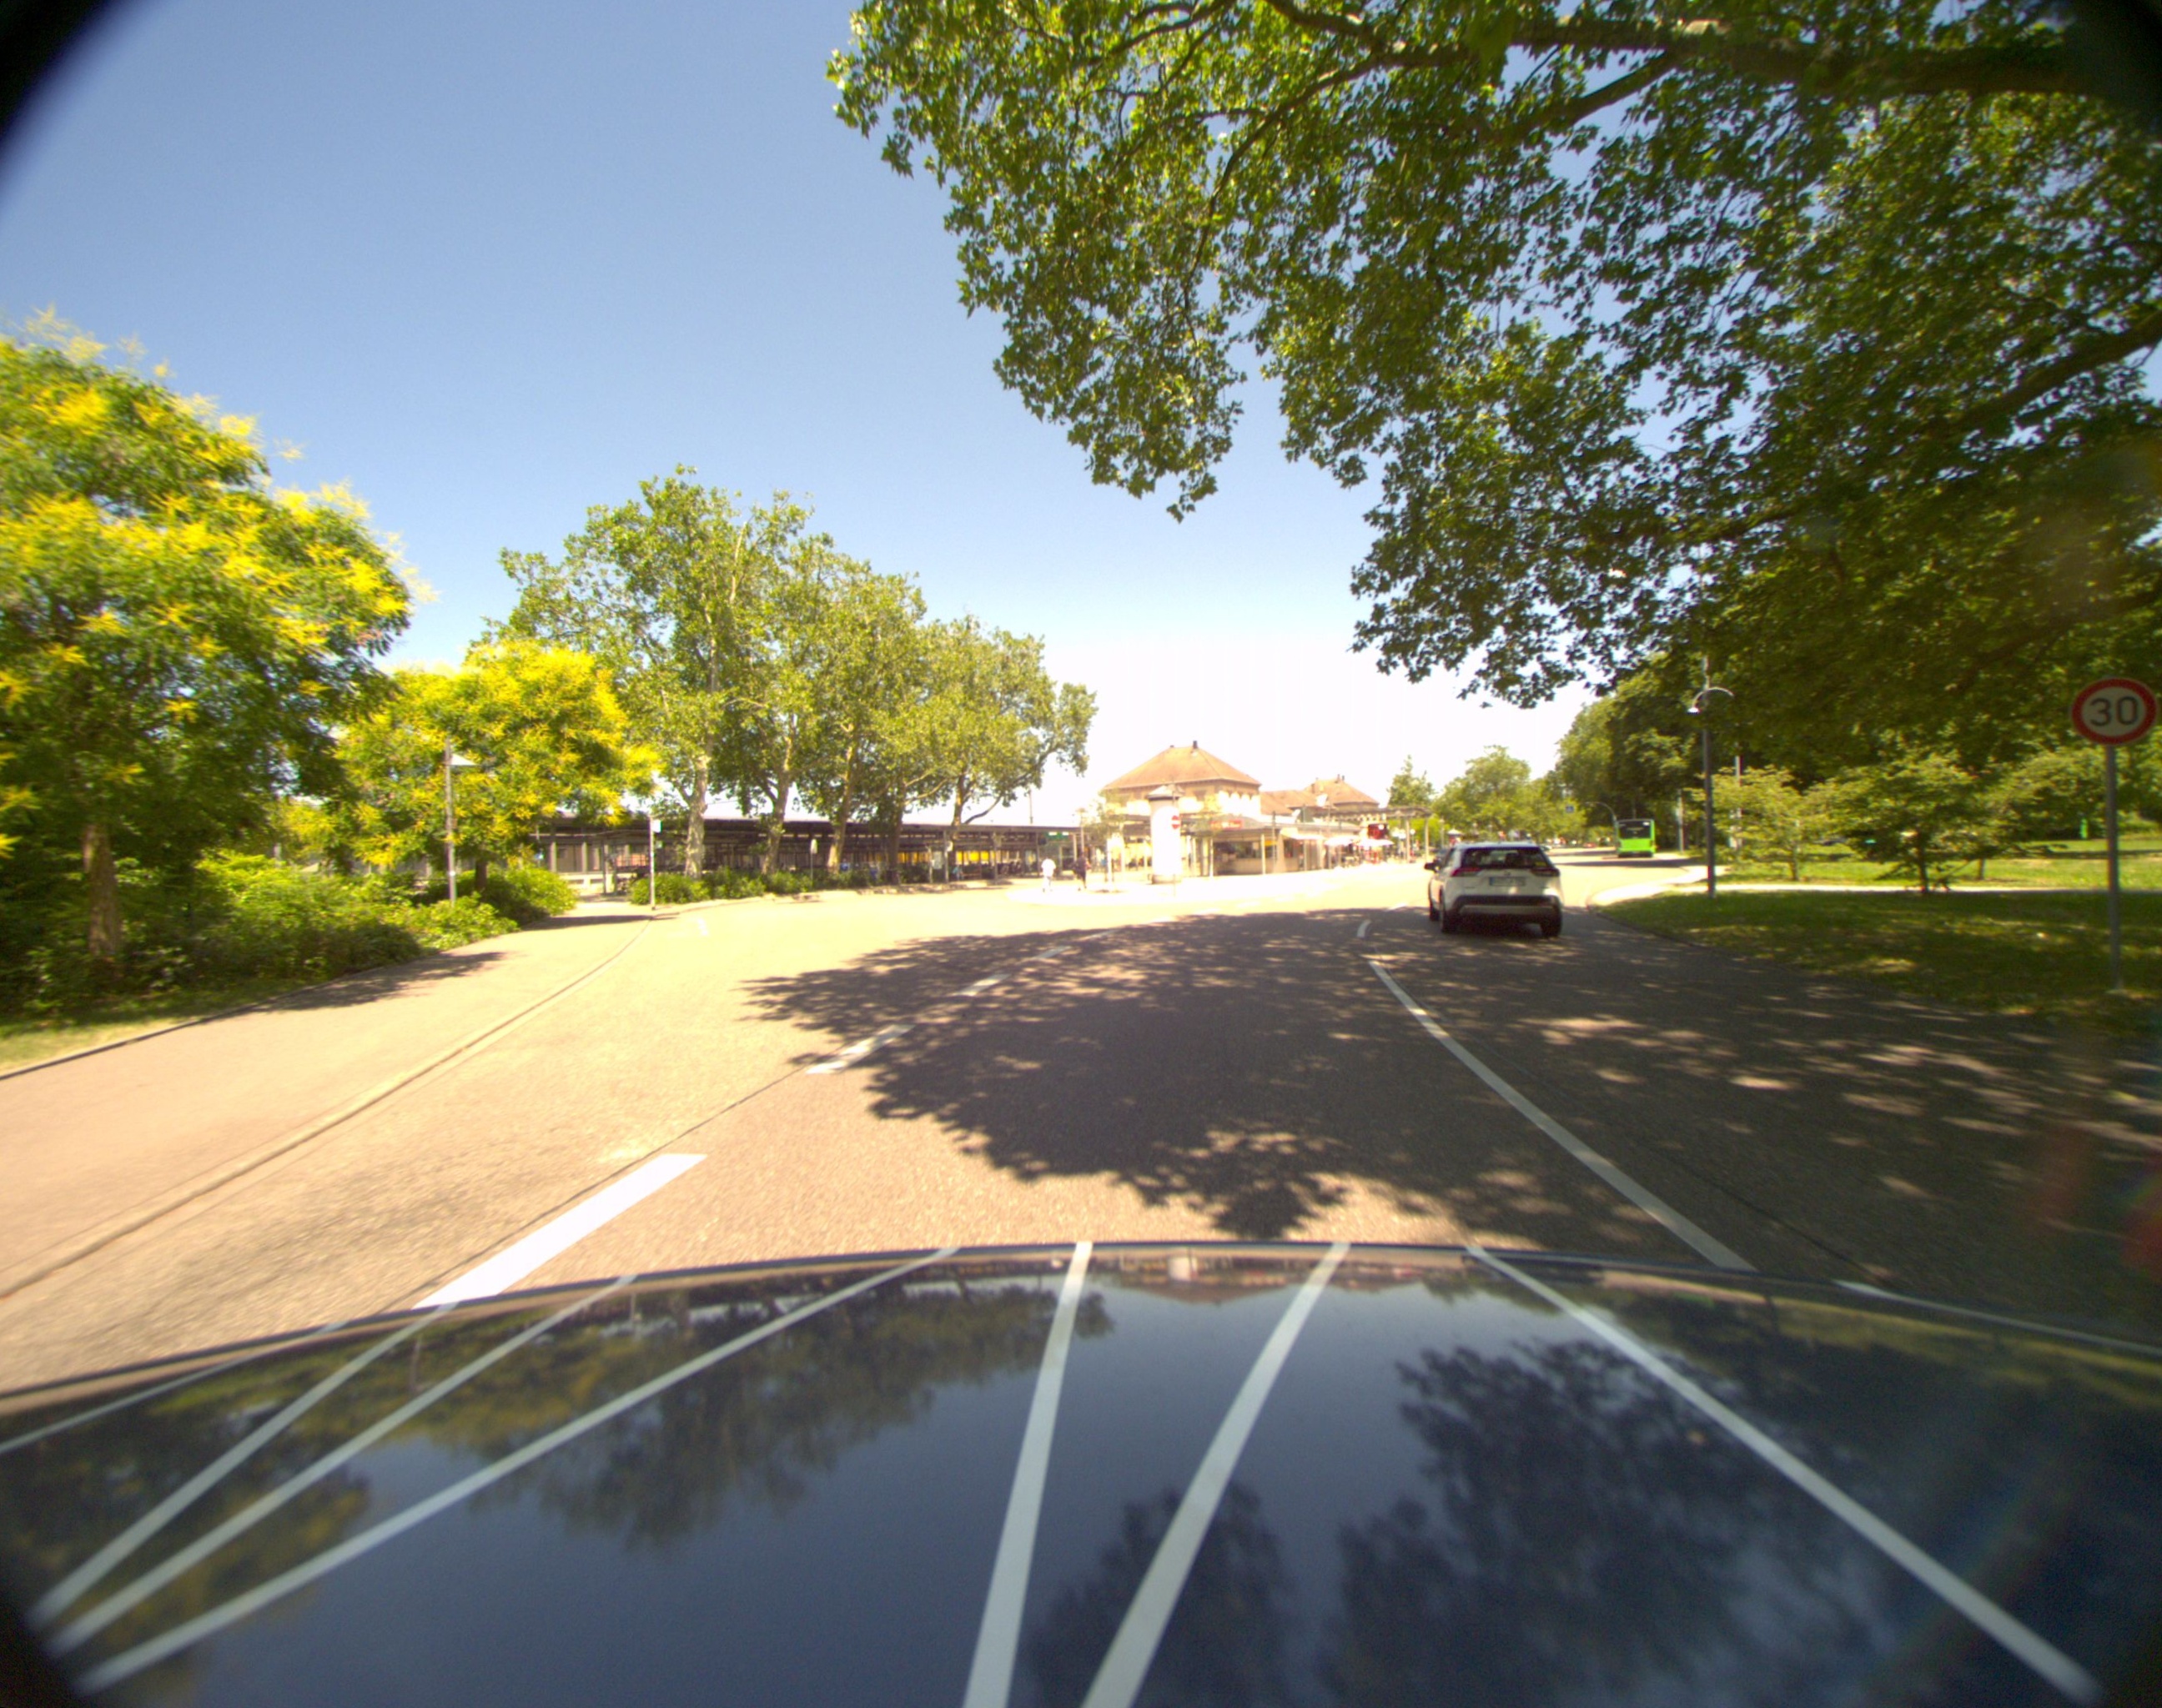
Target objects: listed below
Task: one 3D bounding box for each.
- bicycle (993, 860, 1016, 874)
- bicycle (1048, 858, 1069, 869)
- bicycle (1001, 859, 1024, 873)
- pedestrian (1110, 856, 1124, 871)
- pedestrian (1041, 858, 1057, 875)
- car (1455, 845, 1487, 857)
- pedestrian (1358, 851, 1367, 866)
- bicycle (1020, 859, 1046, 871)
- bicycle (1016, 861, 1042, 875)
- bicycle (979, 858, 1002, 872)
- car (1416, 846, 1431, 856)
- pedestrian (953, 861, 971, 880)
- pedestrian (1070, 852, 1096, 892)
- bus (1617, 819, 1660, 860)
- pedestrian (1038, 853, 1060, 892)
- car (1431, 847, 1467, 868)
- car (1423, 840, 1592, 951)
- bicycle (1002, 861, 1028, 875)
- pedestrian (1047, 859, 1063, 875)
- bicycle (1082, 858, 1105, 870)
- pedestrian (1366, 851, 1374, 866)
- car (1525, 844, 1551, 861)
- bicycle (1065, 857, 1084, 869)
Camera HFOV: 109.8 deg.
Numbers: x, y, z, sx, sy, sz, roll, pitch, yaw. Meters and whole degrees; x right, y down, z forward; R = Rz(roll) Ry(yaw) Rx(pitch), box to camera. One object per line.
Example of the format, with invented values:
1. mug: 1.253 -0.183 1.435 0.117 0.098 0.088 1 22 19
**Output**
1. bicycle: -6.812 1.127 67.742 0.668 1.068 2.173 1 5 39
2. bicycle: -2.246 0.935 76.391 2.163 1.068 0.671 1 5 40
3. bicycle: -6.040 1.022 67.082 0.668 1.068 2.173 1 5 39
4. pedestrian: 3.297 0.881 70.414 0.960 1.297 0.832 -1 0 37
5. pedestrian: -2.640 0.997 62.138 0.960 1.378 0.832 -1 0 37
6. car: 58.408 -0.389 113.864 3.989 1.655 2.004 -2 0 32
7. pedestrian: 22.837 0.350 61.643 0.489 1.204 0.473 -2 0 42
8. bicycle: -4.510 1.047 71.236 2.165 1.068 0.864 -1 4 18
9. bicycle: -4.359 1.173 64.009 2.163 1.068 0.671 0 5 33
10. bicycle: -8.181 1.017 68.726 0.668 1.068 2.173 1 5 39
11. car: 71.988 -0.630 159.747 1.994 2.002 4.008 -2 0 36
12. pedestrian: -8.452 1.172 54.026 0.829 1.267 0.870 -1 0 32
13. pedestrian: 0.075 0.806 34.767 0.916 1.774 0.693 -2 0 -27
14. bus: 49.533 -1.302 67.741 2.809 3.283 11.881 -2 0 35
15. pedestrian: -1.454 0.829 34.549 0.915 1.726 0.675 -2 0 -8
16. car: 28.630 0.252 59.105 1.774 1.536 4.191 0 1 36
17. car: 7.757 0.655 14.297 2.045 1.737 4.330 0 0 19
18. bicycle: -5.448 1.131 62.594 2.163 1.068 0.671 0 5 33
19. pedestrian: -2.153 1.053 62.901 0.960 1.297 0.832 -1 0 37
20. bicycle: 1.162 0.917 72.341 2.163 1.068 0.671 1 5 40
21. pedestrian: 23.344 0.343 61.373 0.502 1.225 0.514 -2 0 30
22. car: 44.354 -0.160 73.772 1.774 1.536 4.191 0 1 36
23. bicycle: -0.633 0.893 75.868 0.668 1.068 2.173 1 5 39
